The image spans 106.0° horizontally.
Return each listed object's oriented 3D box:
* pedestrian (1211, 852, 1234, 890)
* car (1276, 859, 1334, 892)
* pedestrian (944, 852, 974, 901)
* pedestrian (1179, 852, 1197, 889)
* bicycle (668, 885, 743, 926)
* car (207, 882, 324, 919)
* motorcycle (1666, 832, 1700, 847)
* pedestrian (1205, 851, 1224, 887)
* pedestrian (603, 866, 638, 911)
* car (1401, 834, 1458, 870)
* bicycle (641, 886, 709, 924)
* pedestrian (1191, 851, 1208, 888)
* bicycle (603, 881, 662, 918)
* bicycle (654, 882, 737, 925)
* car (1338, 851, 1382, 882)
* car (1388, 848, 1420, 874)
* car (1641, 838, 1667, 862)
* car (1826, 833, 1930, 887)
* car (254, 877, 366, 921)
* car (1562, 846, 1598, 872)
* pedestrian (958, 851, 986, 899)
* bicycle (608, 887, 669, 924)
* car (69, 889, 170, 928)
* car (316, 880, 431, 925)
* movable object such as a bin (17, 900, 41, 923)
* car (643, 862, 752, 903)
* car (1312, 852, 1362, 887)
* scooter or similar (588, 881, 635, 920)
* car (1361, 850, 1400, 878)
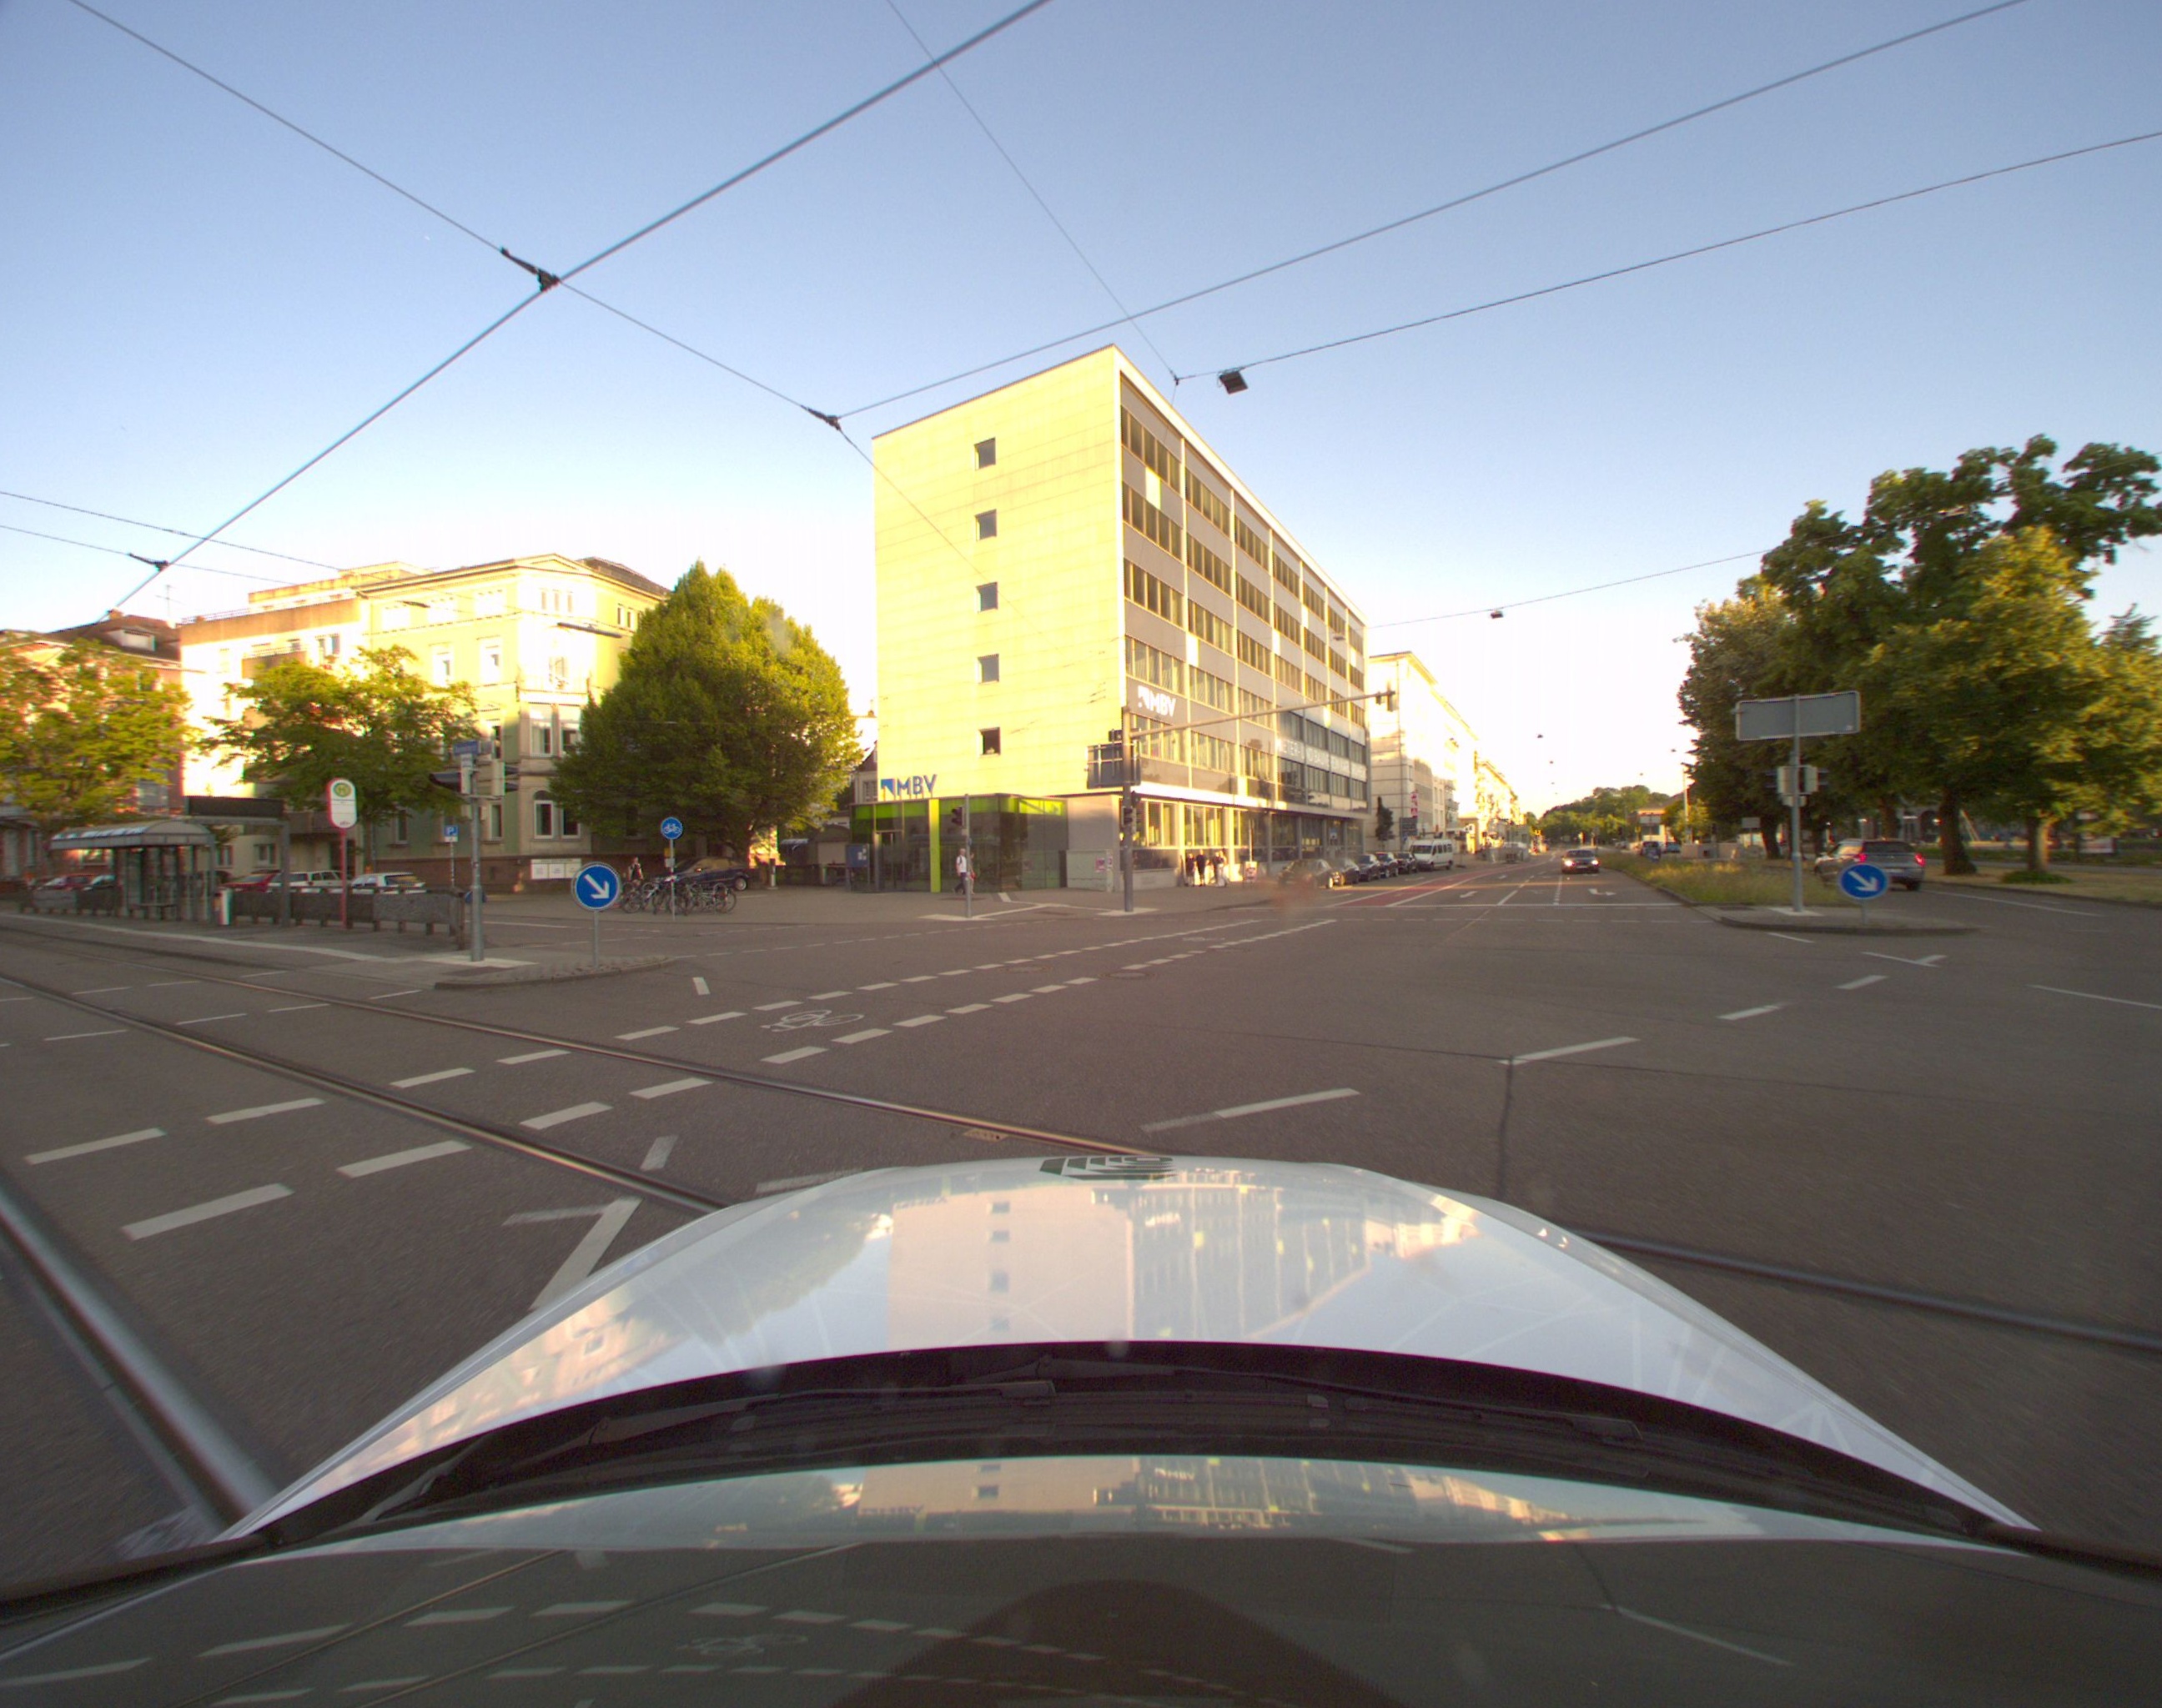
[{"bbox_3d":[6.754,0.808,38.950,0.833,1.768,0.790,-2,0,27],"label":"pedestrian"},{"bbox_3d":[10.738,0.995,38.944,1.677,1.411,3.892,0,1,31],"label":"car"},{"bbox_3d":[-4.508,0.822,30.096,0.726,1.768,0.713,-2,0,31],"label":"pedestrian"},{"bbox_3d":[5.224,0.795,39.719,0.647,1.768,0.650,-2,0,27],"label":"pedestrian"},{"bbox_3d":[-11.330,1.527,24.605,1.876,1.074,0.735,-3,0,-42],"label":"bicycle"},{"bbox_3d":[-36.798,2.057,36.916,1.641,1.454,4.194,-2,0,-11],"label":"car"},{"bbox_3d":[77.891,-1.857,105.330,3.453,1.755,0.931,-2,0,34],"label":"motorcycle"},{"bbox_3d":[6.548,0.740,39.962,0.732,1.768,0.677,-2,-1,27],"label":"pedestrian"},{"bbox_3d":[-18.711,1.398,33.103,0.978,1.768,0.711,-2,0,16],"label":"pedestrian"},{"bbox_3d":[27.327,-0.167,63.745,2.217,2.628,5.889,4,3,42],"label":"car"},{"bbox_3d":[-12.781,1.598,25.688,0.734,1.074,1.772,-2,0,33],"label":"bicycle"},{"bbox_3d":[5.861,0.759,40.270,0.647,1.768,0.650,-2,0,27],"label":"pedestrian"},{"bbox_3d":[-15.032,1.506,27.301,0.734,1.163,1.541,-2,0,33],"label":"bicycle"},{"bbox_3d":[-12.009,1.516,25.447,0.734,1.132,2.252,-2,1,33],"label":"bicycle"},{"bbox_3d":[16.731,0.710,48.656,1.677,1.664,3.892,2,2,31],"label":"car"},{"bbox_3d":[23.172,0.464,58.399,1.485,1.664,3.892,2,2,31],"label":"car"},{"bbox_3d":[57.323,-0.427,81.555,1.865,2.238,3.935,-2,0,33],"label":"car"},{"bbox_3d":[25.890,0.148,26.601,1.676,1.605,4.116,-1,1,34],"label":"car"},{"bbox_3d":[-34.183,1.941,36.269,1.718,1.725,4.191,0,-1,-13],"label":"car"},{"bbox_3d":[29.458,0.271,48.035,1.676,1.420,4.200,-2,0,33],"label":"car"},{"bbox_3d":[-4.109,0.785,30.700,0.737,1.768,0.713,-2,0,31],"label":"pedestrian"},{"bbox_3d":[-14.420,1.656,26.549,0.734,1.074,1.566,-2,0,33],"label":"bicycle"},{"bbox_3d":[-45.966,2.614,38.954,4.040,1.631,1.758,-2,2,20],"label":"car"},{"bbox_3d":[-28.574,1.959,32.909,3.953,1.552,1.694,-2,3,20],"label":"car"},{"bbox_3d":[-55.718,3.055,43.137,0.580,1.153,0.719,-2,-1,30],"label":"movable object such as a bin"},{"bbox_3d":[-16.797,1.212,35.863,1.780,1.574,4.022,-1,0,31],"label":"car"},{"bbox_3d":[13.861,0.796,44.026,1.677,1.664,3.892,2,2,31],"label":"car"},{"bbox_3d":[-16.095,1.588,27.913,0.583,1.225,1.211,-2,1,31],"label":"scooter or similar"},{"bbox_3d":[19.591,0.603,53.195,1.677,1.664,3.892,2,2,31],"label":"car"}]
